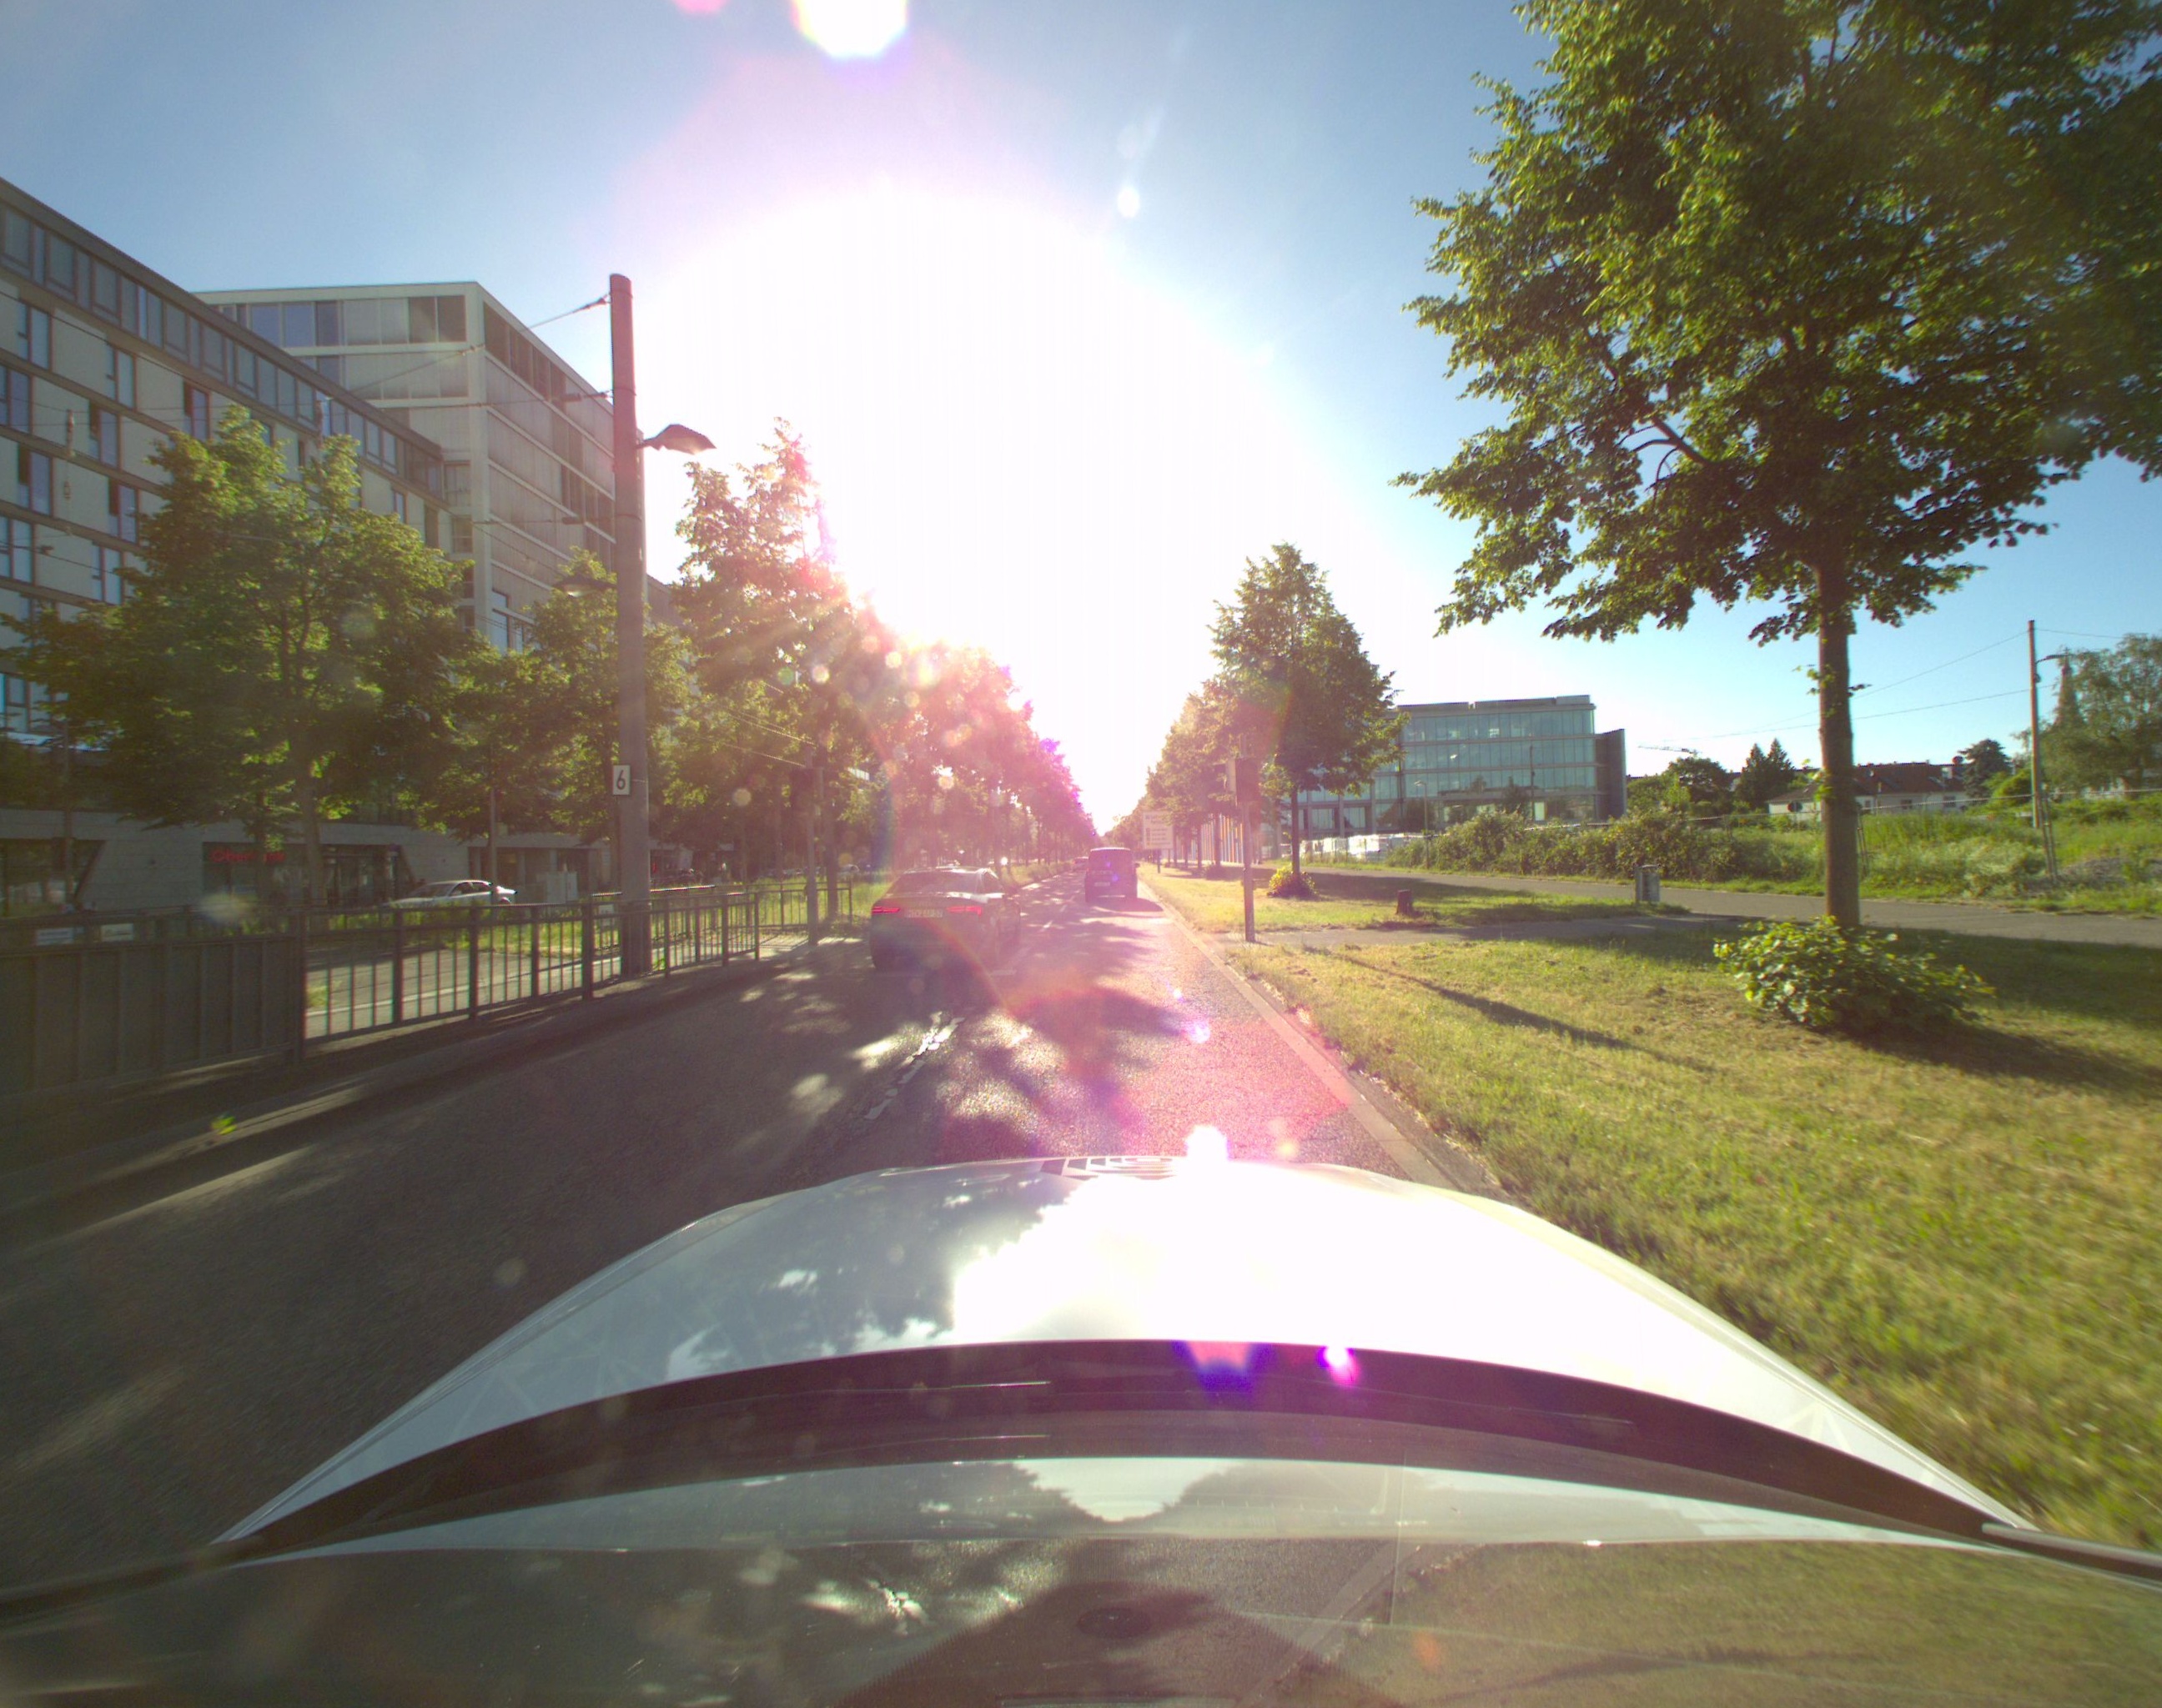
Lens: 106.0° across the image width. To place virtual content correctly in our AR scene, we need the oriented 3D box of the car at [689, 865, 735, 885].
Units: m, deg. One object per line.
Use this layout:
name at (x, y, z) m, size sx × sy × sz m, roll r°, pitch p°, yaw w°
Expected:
car at (-28.716, 1.602, 63.507) m, size 1.727 × 1.354 × 3.755 m, roll -2°, pitch 0°, yaw 2°

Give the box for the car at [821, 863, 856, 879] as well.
car at (-20.929, 1.433, 70.536) m, size 1.761 × 1.238 × 3.488 m, roll -2°, pitch 0°, yaw 3°

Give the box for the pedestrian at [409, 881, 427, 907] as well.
pedestrian at (-36.097, 2.177, 44.336) m, size 0.406 × 1.413 × 0.690 m, roll -2°, pitch -2°, yaw 2°

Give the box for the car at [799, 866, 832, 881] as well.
car at (-27.908, 2.081, 85.751) m, size 1.708 × 1.420 × 4.548 m, roll -2°, pitch 0°, yaw 2°

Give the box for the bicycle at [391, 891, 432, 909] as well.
bicycle at (-36.566, 2.523, 44.502) m, size 0.539 × 0.881 × 2.015 m, roll -2°, pitch -1°, yaw 2°

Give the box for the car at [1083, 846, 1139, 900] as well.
car at (1.007, 0.608, 28.444) m, size 1.791 × 1.777 × 4.001 m, roll 0°, pitch 0°, yaw 1°

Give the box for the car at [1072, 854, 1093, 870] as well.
car at (0.140, 0.762, 78.682) m, size 1.936 × 1.441 × 4.000 m, roll -2°, pitch 0°, yaw 0°

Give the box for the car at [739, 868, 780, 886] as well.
car at (-29.000, 2.073, 73.694) m, size 1.708 × 1.420 × 4.548 m, roll -2°, pitch 0°, yaw 2°

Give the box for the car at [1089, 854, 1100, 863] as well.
car at (2.610, 0.793, 153.467) m, size 1.835 × 1.534 × 3.943 m, roll -2°, pitch 0°, yaw 3°

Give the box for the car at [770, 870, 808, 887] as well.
car at (-28.326, 2.390, 79.220) m, size 1.708 × 1.420 × 4.549 m, roll -3°, pitch 0°, yaw 4°

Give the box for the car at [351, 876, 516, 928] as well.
car at (-21.551, 1.542, 27.393) m, size 1.811 × 1.403 × 4.511 m, roll -2°, pitch 0°, yaw 2°

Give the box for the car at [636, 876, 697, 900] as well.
car at (-29.131, 2.350, 57.410) m, size 1.662 × 1.420 × 4.807 m, roll -2°, pitch 0°, yaw 2°

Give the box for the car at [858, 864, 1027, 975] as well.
car at (-1.929, 0.868, 12.588) m, size 1.714 × 1.366 × 4.148 m, roll -1°, pitch 0°, yaw 2°

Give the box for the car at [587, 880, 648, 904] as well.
car at (-29.338, 2.372, 51.651) m, size 1.662 × 1.207 × 3.585 m, roll -3°, pitch 1°, yaw 2°

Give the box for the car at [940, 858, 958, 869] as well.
car at (-18.721, 1.322, 115.614) m, size 1.791 × 1.292 × 4.312 m, roll -3°, pitch 1°, yaw 1°
